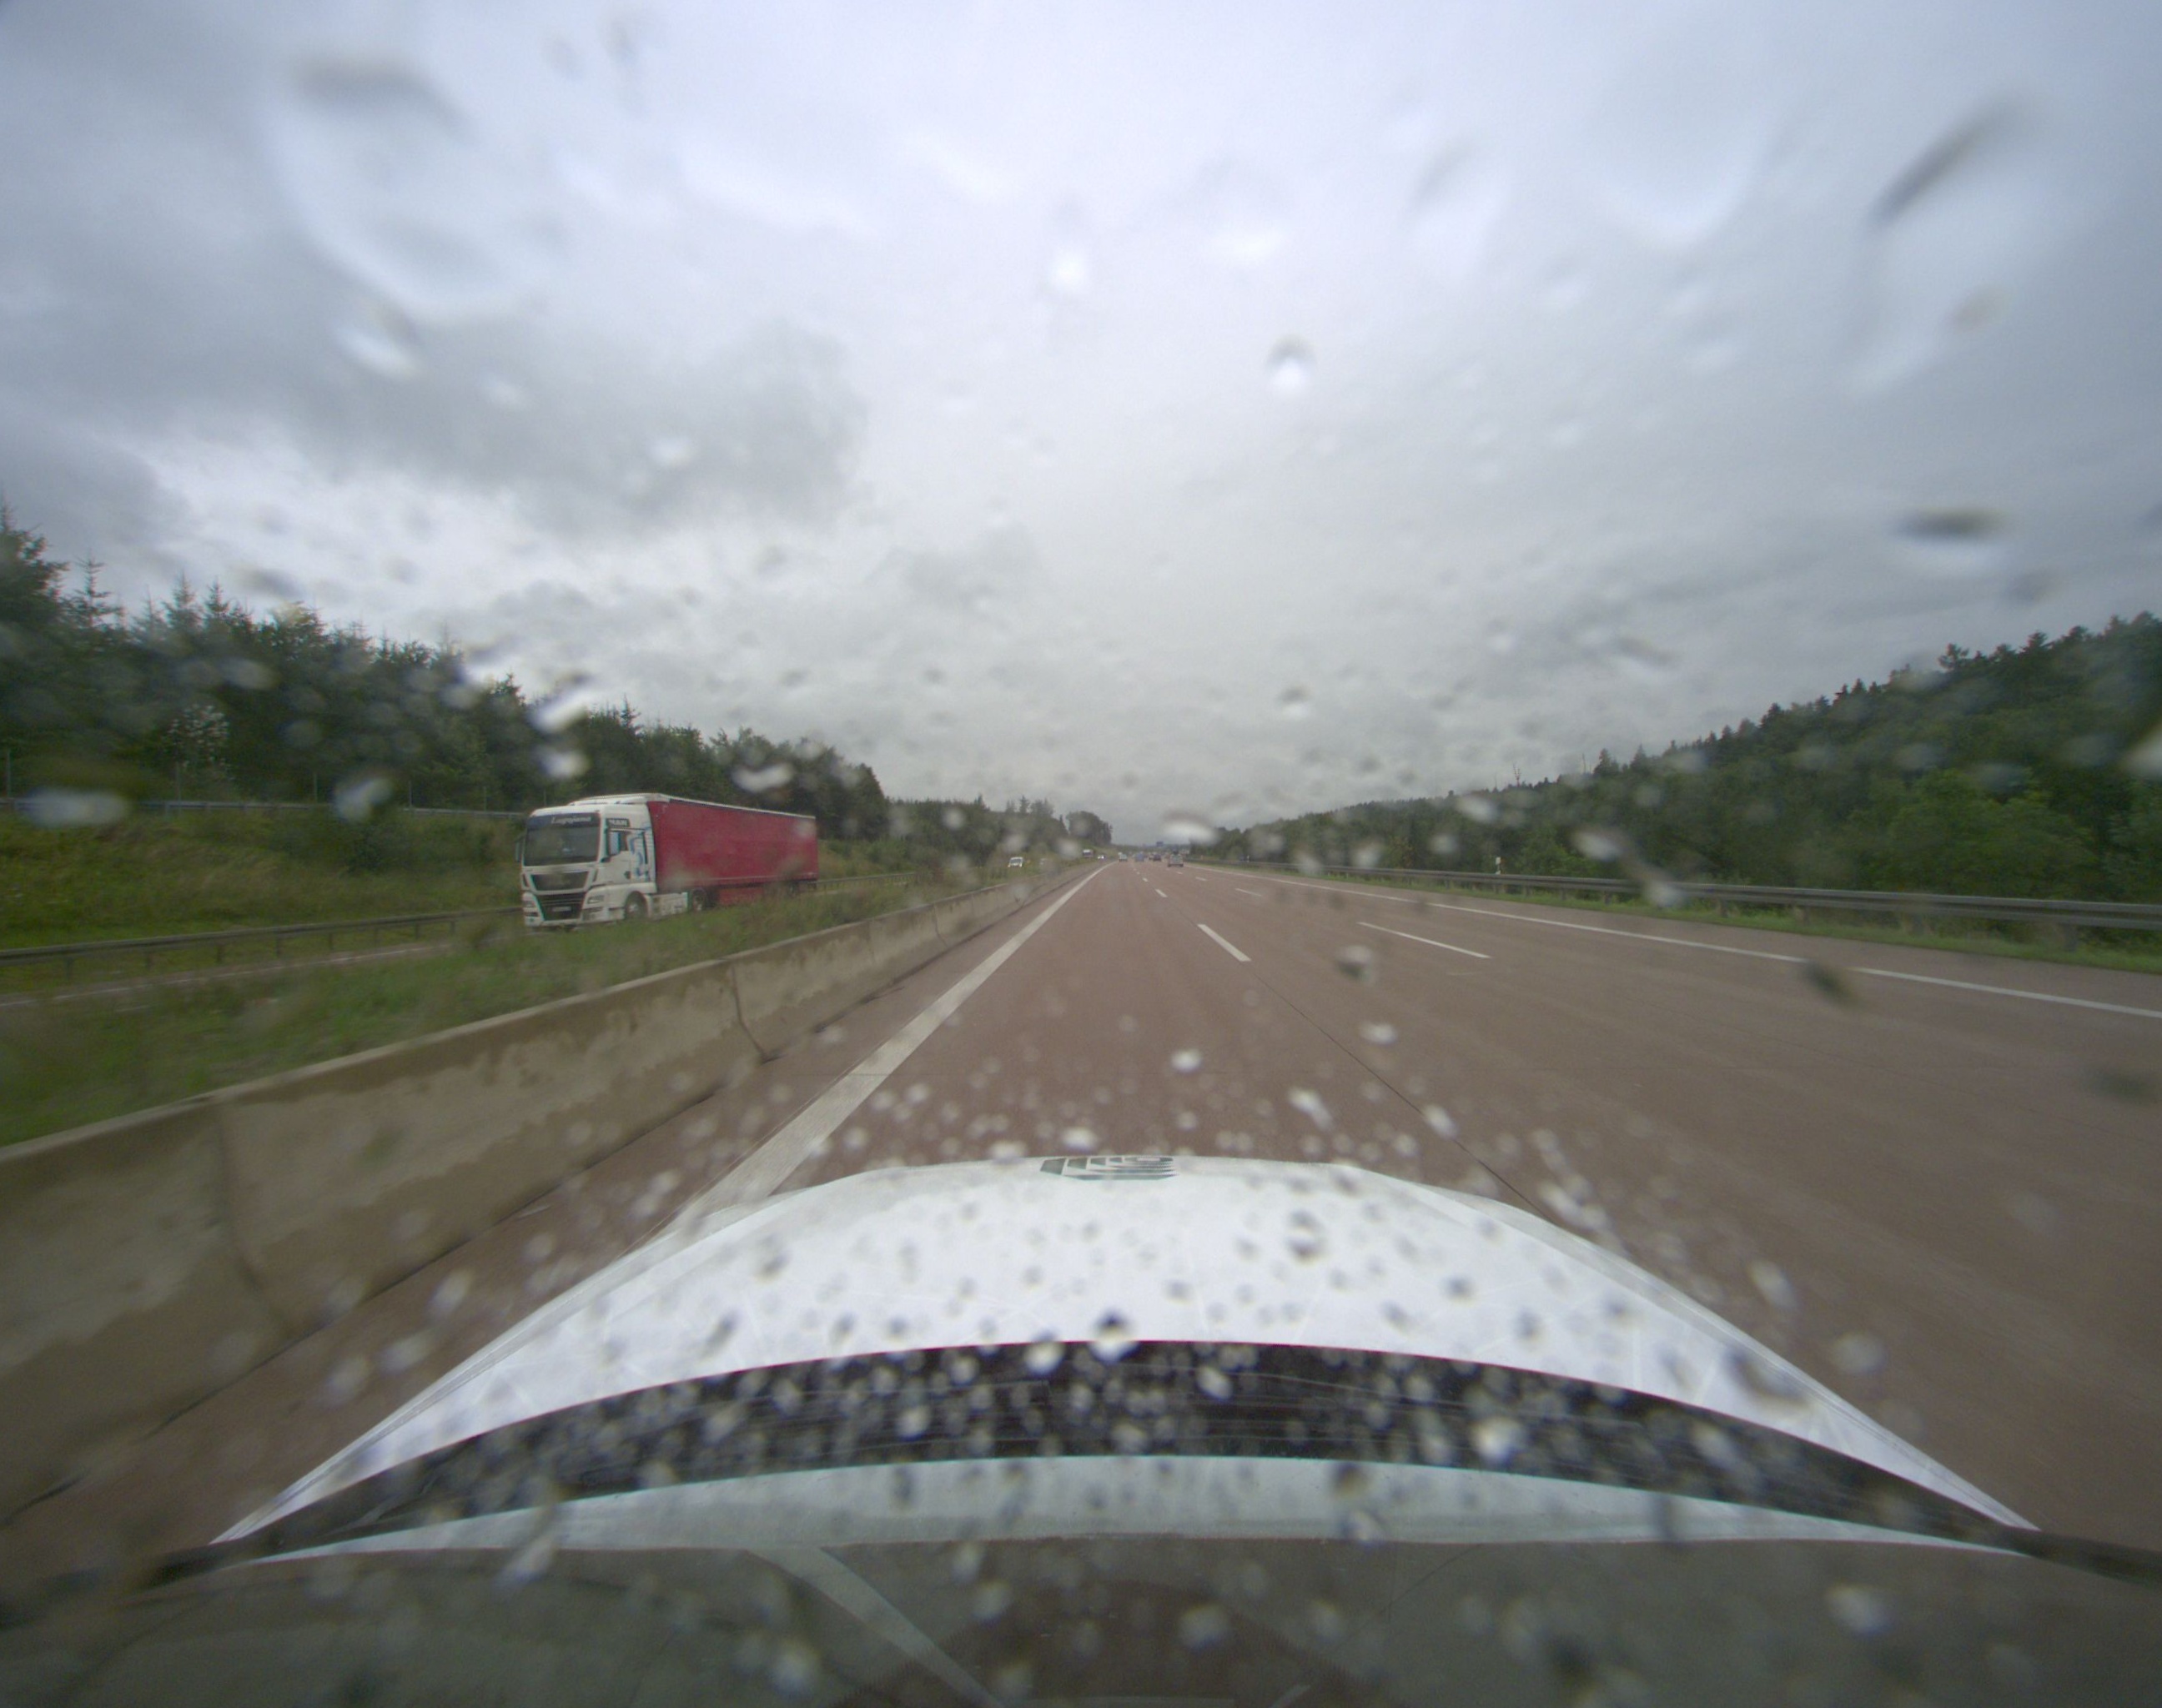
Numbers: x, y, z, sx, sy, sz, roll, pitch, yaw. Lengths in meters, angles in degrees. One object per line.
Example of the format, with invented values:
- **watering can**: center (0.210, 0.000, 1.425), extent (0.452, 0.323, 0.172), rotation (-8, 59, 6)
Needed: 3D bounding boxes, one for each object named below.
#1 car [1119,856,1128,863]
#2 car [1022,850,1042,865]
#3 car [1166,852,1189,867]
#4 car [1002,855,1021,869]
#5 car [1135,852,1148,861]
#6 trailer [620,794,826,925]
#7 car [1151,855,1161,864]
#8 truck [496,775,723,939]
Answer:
- **car**: center (9.661, 1.283, 185.733), extent (1.866, 1.444, 4.880), rotation (0, -1, 3)
- **car**: center (-5.477, 0.449, 91.552), extent (1.671, 1.647, 4.448), rotation (0, -1, 3)
- **car**: center (12.114, 0.738, 102.699), extent (2.315, 1.750, 4.875), rotation (0, -1, -1)
- **car**: center (-8.578, 1.015, 100.522), extent (1.726, 1.722, 4.765), rotation (0, -1, 3)
- **car**: center (13.188, 0.593, 178.032), extent (2.315, 1.750, 4.875), rotation (0, -1, -1)
- **trailer**: center (-14.107, 0.315, 33.784), extent (2.929, 4.489, 11.779), rotation (0, -1, 2)
- **car**: center (17.015, 1.180, 185.373), extent (1.988, 2.014, 3.998), rotation (0, -1, -1)
- **truck**: center (-14.358, 0.145, 25.615), extent (2.939, 4.478, 6.794), rotation (0, -1, 2)
